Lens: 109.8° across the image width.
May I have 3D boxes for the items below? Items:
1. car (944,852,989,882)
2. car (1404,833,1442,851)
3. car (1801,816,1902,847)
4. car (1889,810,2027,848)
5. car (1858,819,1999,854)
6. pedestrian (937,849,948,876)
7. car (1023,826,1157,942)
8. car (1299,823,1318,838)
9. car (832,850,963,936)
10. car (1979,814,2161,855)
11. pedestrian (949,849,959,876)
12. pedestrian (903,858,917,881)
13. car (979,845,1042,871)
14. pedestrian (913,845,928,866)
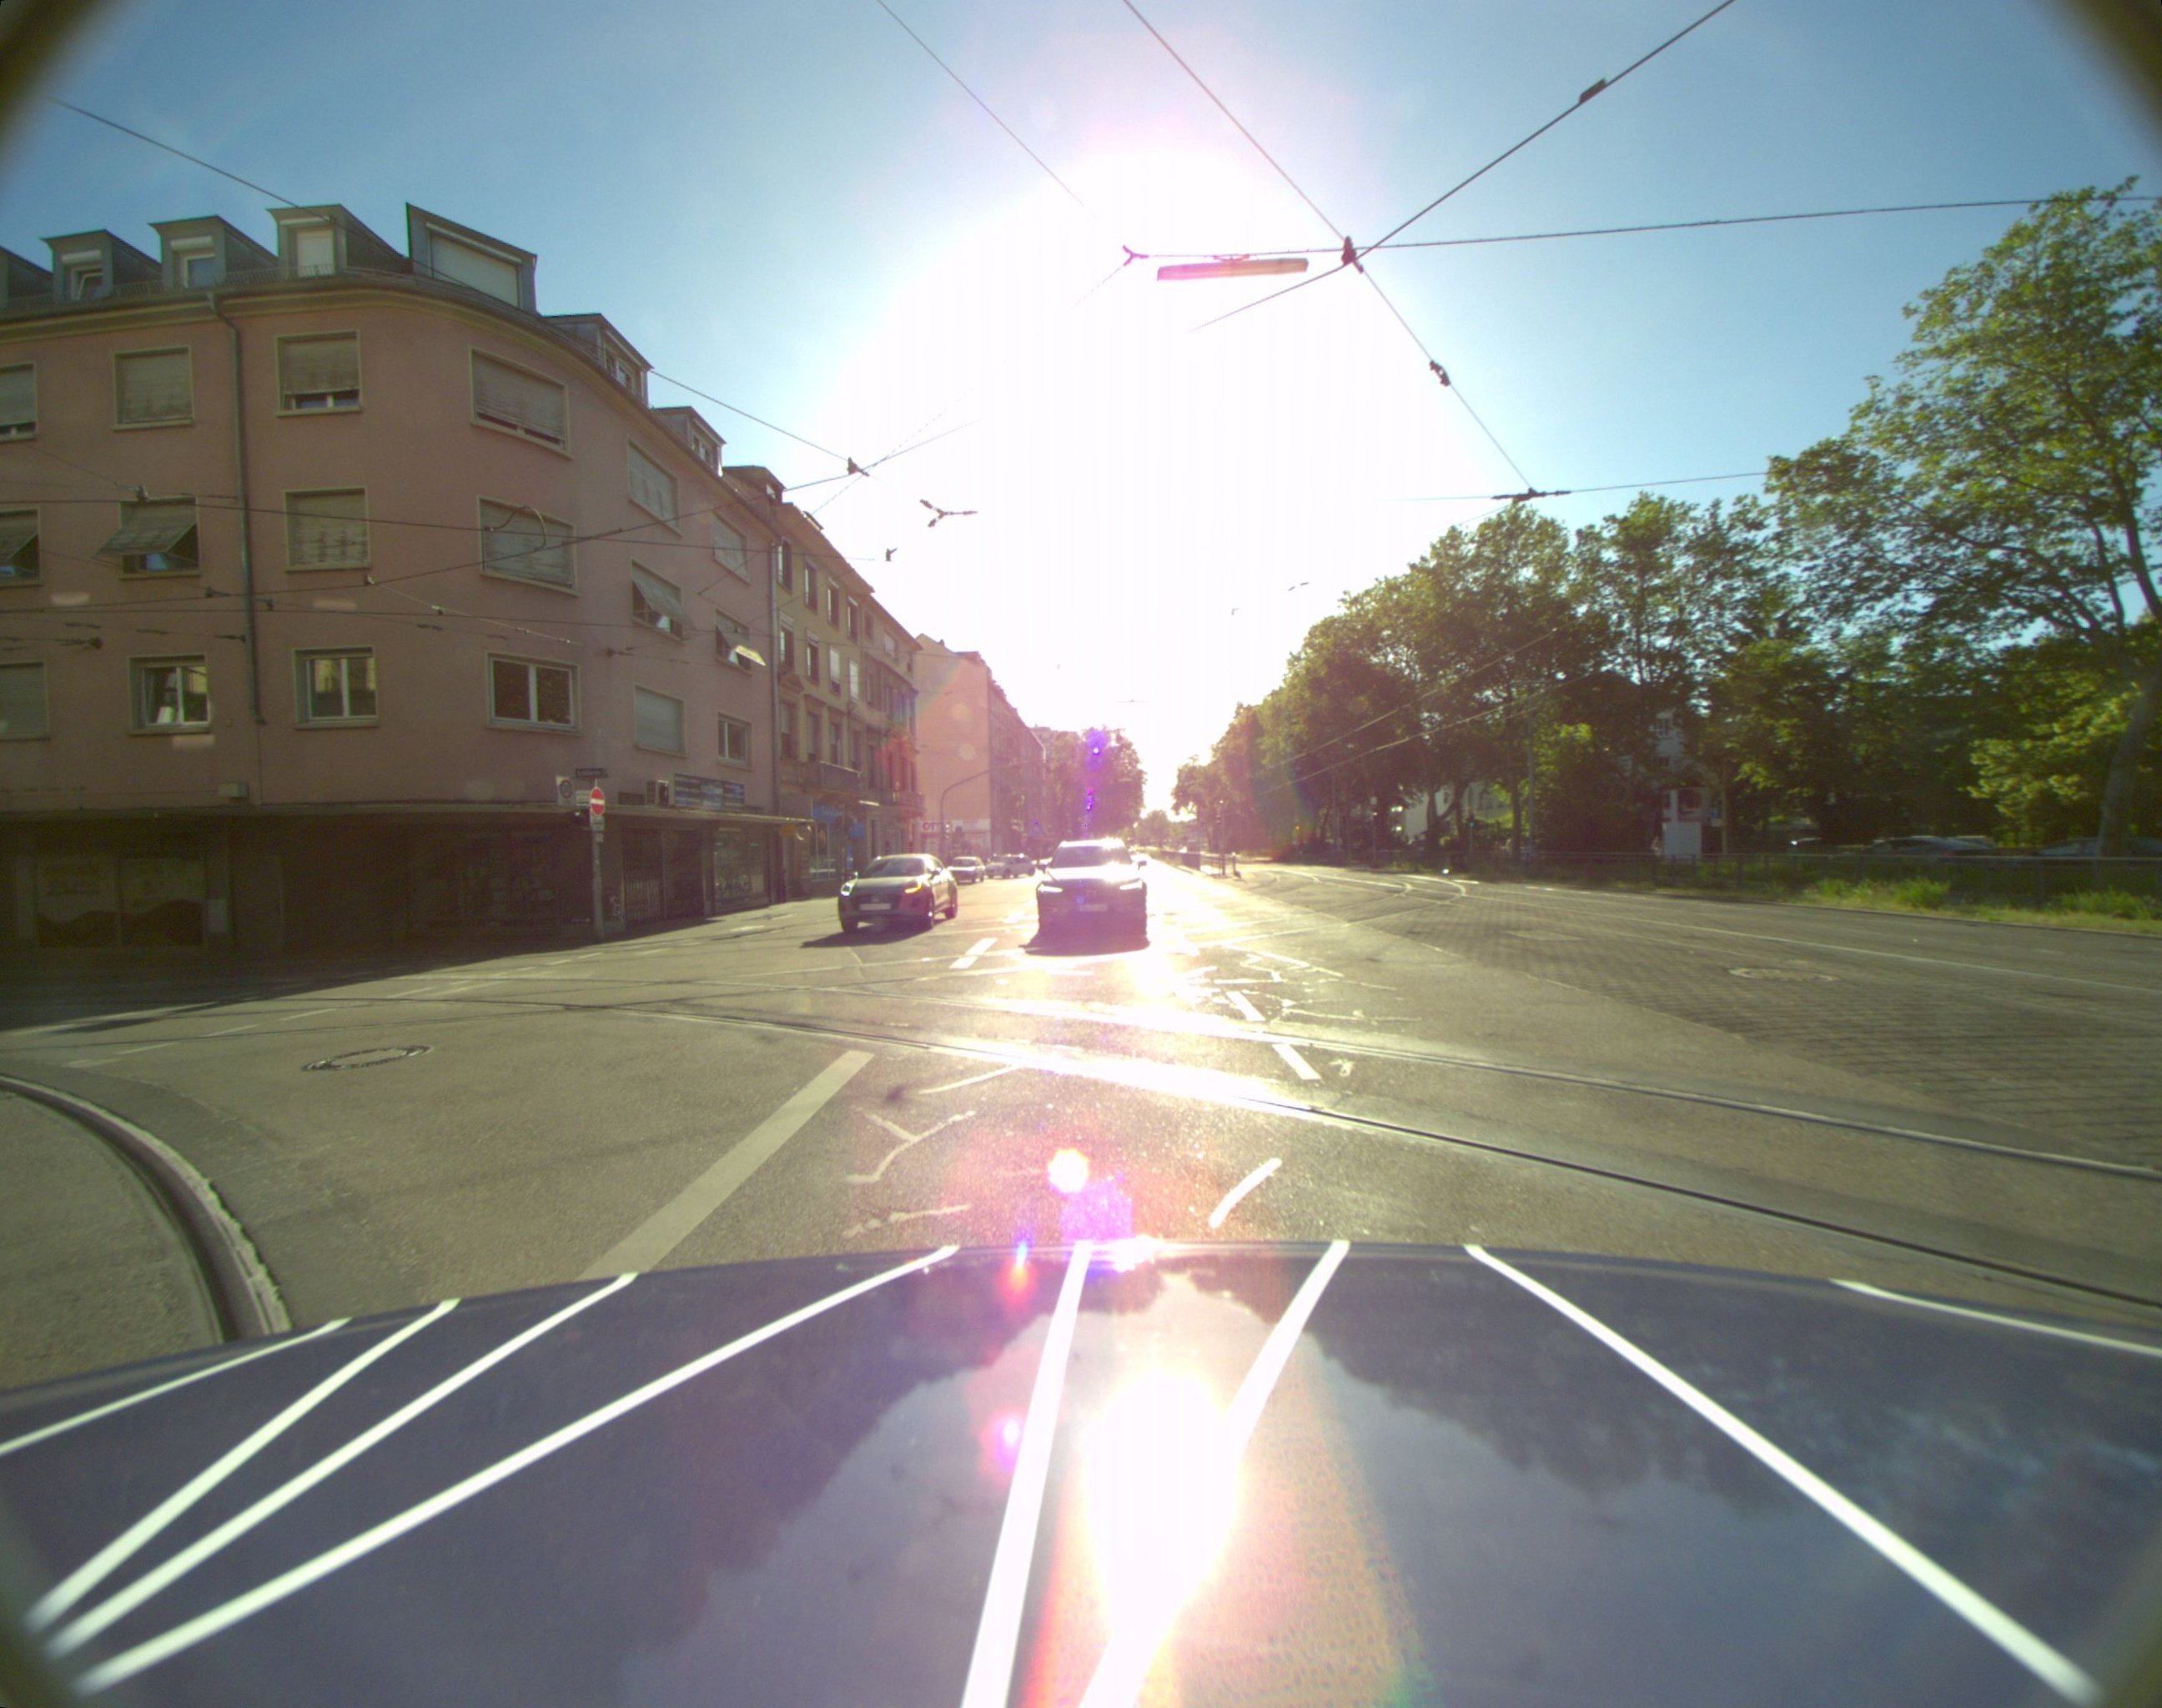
[{"bbox_3d":[-6.299,0.695,42.244,1.738,1.510,4.000,0,1,2],"label":"car"},{"bbox_3d":[30.881,-1.054,68.779,1.722,1.462,3.756,-4,1,1],"label":"car"},{"bbox_3d":[38.181,-1.092,37.754,1.633,1.388,3.484,-4,1,5],"label":"car"},{"bbox_3d":[38.004,-1.066,33.066,1.745,1.462,3.741,-4,1,3],"label":"car"},{"bbox_3d":[29.322,-0.587,26.427,1.503,1.043,3.129,-4,1,4],"label":"car"},{"bbox_3d":[-9.149,0.569,50.106,0.495,1.752,0.660,-2,1,3],"label":"pedestrian"},{"bbox_3d":[0.216,0.438,13.704,1.968,1.664,4.000,-4,1,2],"label":"car"},{"bbox_3d":[29.401,-3.006,98.237,1.745,1.782,3.742,-1,0,6],"label":"car"},{"bbox_3d":[-3.757,0.724,16.239,1.659,1.473,3.971,-4,1,1],"label":"car"},{"bbox_3d":[29.041,-0.548,22.262,1.483,1.023,3.405,-4,1,3],"label":"car"},{"bbox_3d":[-8.370,0.542,50.099,0.495,1.752,0.660,-2,1,3],"label":"pedestrian"},{"bbox_3d":[-9.452,0.855,41.989,0.495,1.252,0.660,-2,1,5],"label":"pedestrian"},{"bbox_3d":[-4.649,0.278,50.618,1.812,1.442,4.007,-3,1,41],"label":"car"},{"bbox_3d":[-9.181,0.092,43.521,0.658,1.164,0.496,-2,2,17],"label":"pedestrian"}]
